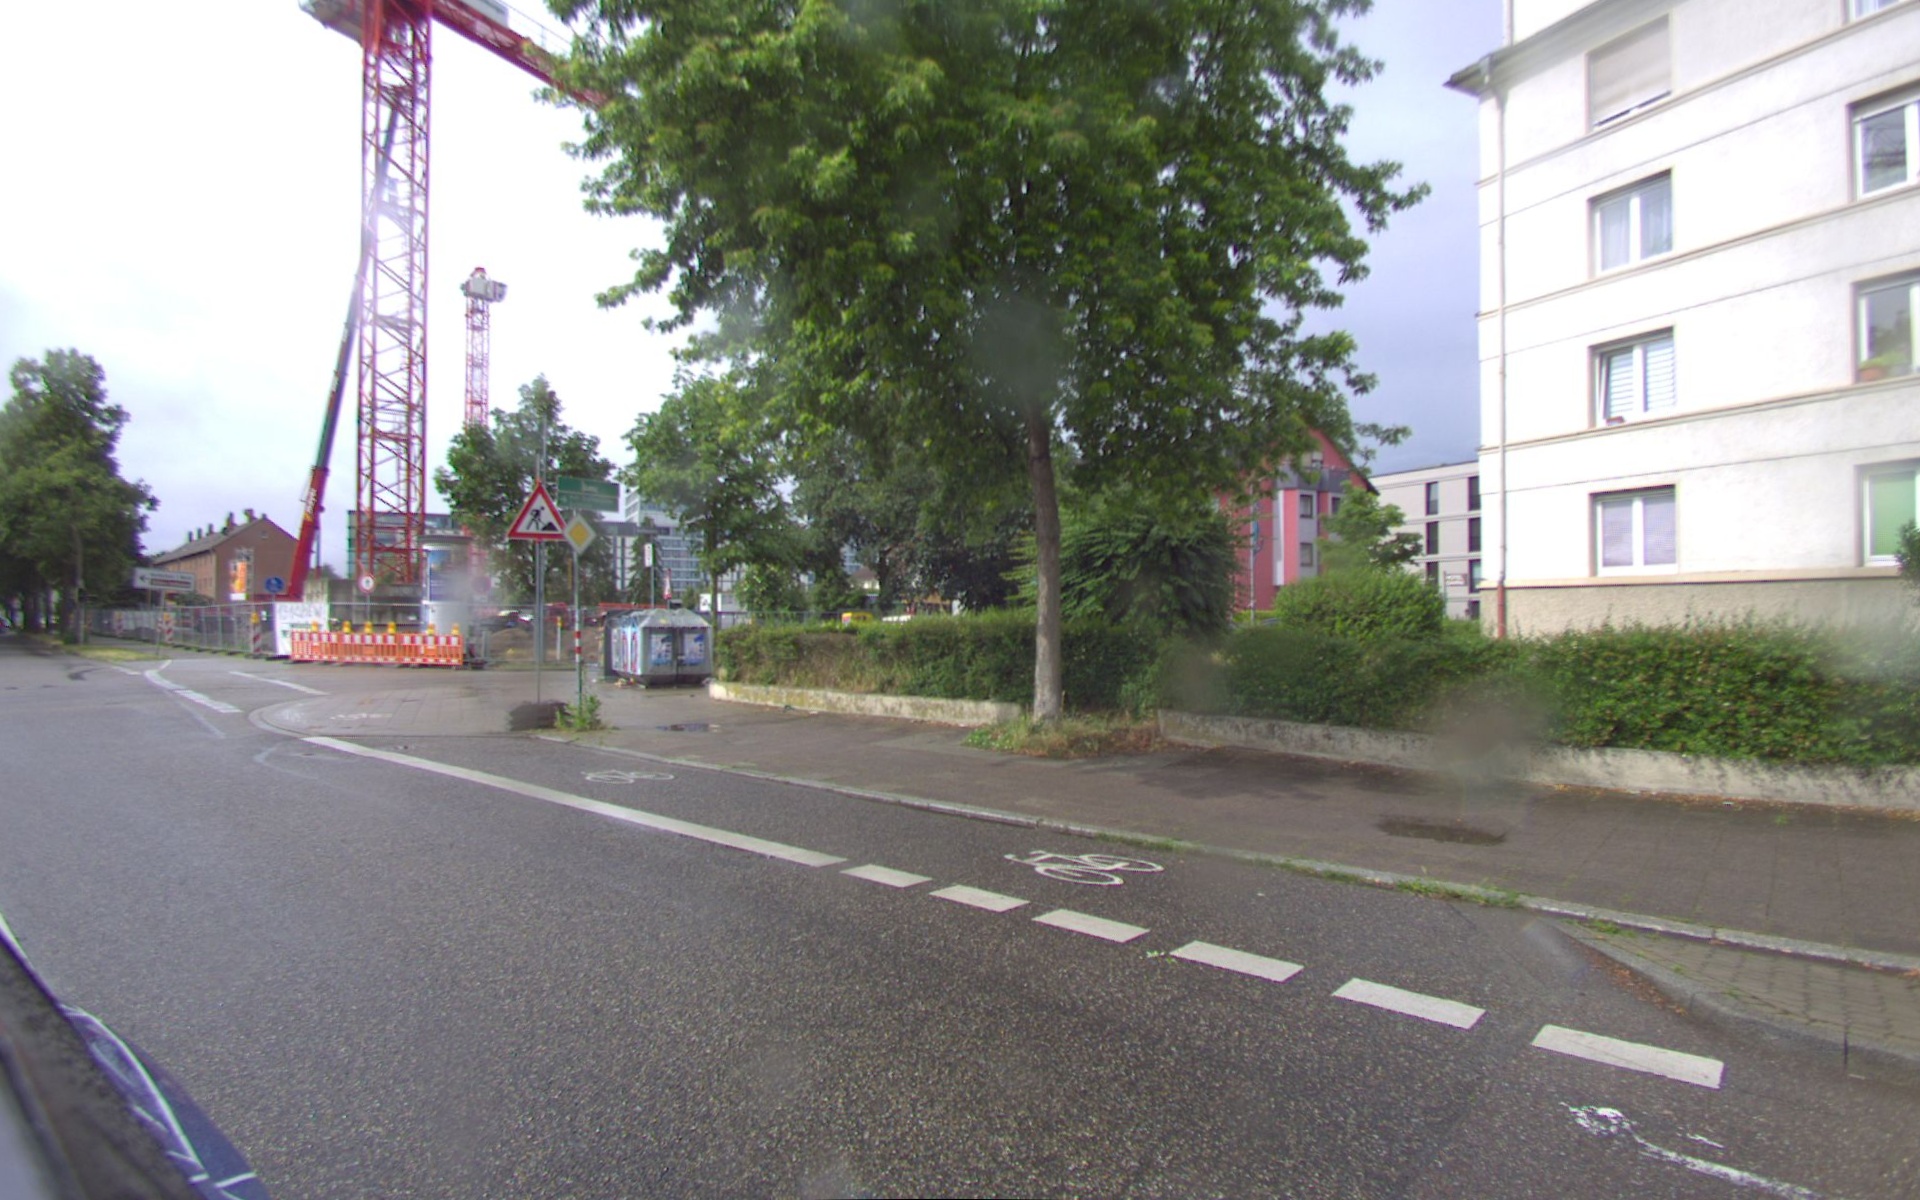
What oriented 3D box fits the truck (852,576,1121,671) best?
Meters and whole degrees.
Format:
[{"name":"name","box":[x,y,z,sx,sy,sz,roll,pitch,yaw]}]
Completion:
[{"name":"truck","box":[1.146,0.958,38.289,9.677,3.208,3.803,2,-2,-32]}]

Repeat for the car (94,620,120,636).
[{"name":"car","box":[-91.551,2.970,108.573,4.000,1.541,1.671,0,1,43]}]

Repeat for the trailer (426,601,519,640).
[{"name":"trailer","box":[-45.260,1.832,93.617,14.315,3.257,2.928,0,2,44]}]

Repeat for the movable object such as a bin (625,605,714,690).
[{"name":"movable object such as a bin","box":[-6.022,0.974,20.959,1.516,1.675,1.463,1,-3,-26]}]

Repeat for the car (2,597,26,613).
[{"name":"car","box":[-101.902,0.551,108.954,1.792,1.552,3.985,4,-4,-43]}]

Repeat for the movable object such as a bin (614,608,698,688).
[{"name":"movable object such as a bin","box":[-6.739,1.055,22.390,1.516,1.687,1.671,1,-3,-26]}]

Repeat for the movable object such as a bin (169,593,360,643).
[{"name":"movable object such as a bin","box":[-70.356,1.661,102.943,15.715,4.592,3.105,-1,1,-43]}]

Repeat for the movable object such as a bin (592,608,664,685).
[{"name":"movable object such as a bin","box":[-8.245,1.140,25.088,1.516,1.838,1.267,1,-3,-26]}]

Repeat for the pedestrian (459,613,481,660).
[{"name":"pedestrian","box":[-17.210,1.268,35.545,0.610,1.632,0.551,2,-3,-30]}]

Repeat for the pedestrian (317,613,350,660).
[{"name":"pedestrian","box":[-22.676,1.319,36.631,0.676,1.642,0.722,-1,0,7]}]

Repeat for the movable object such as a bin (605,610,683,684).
[{"name":"movable object such as a bin","box":[-7.468,1.115,23.875,1.516,1.669,1.532,1,-3,-26]}]
